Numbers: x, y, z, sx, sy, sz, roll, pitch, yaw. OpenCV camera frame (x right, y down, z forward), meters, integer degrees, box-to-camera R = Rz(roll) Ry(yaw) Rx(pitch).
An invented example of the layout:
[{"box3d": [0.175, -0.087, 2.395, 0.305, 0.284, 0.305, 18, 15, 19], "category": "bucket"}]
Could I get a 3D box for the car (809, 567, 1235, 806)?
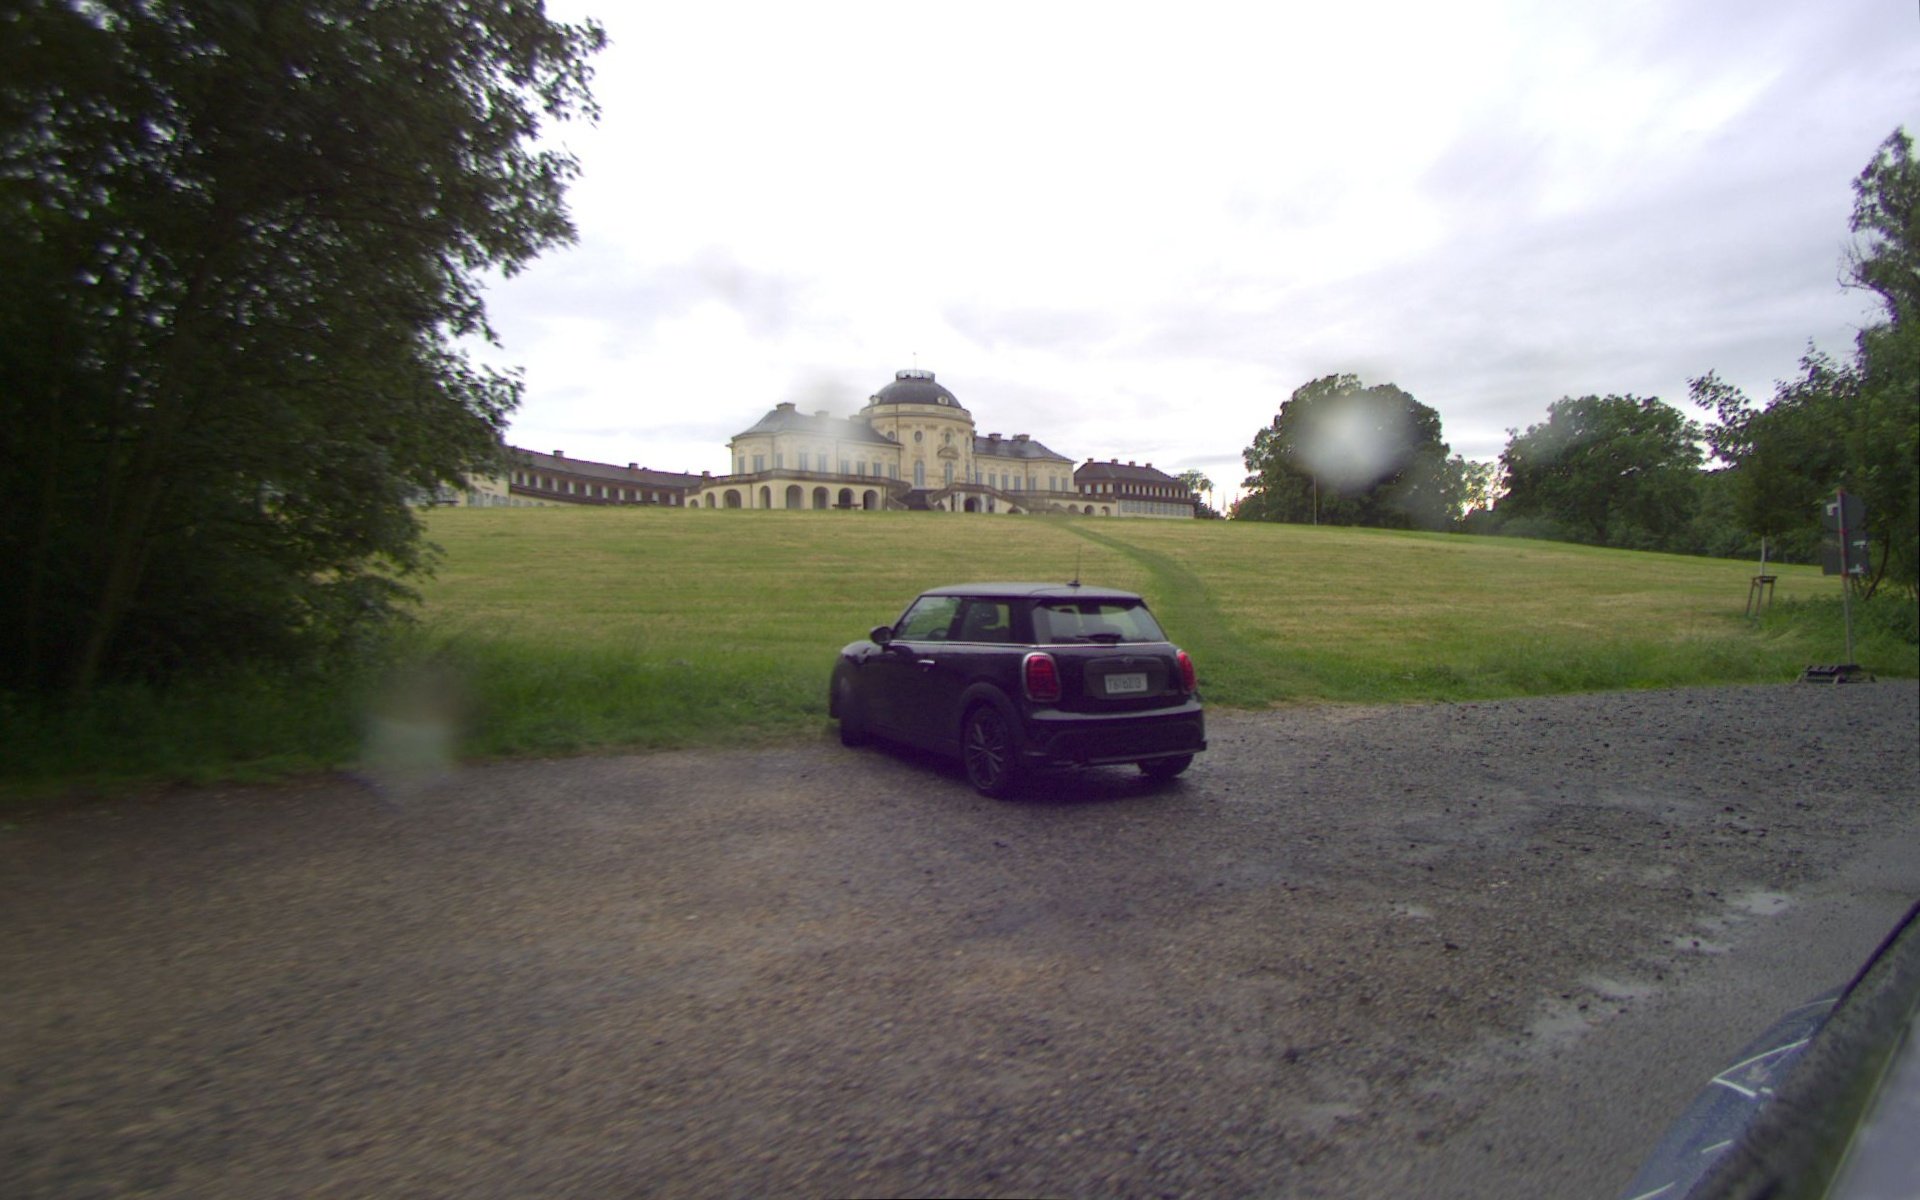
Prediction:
[{"box3d": [0.245, 0.522, 8.199, 1.673, 1.454, 3.723, -1, 0, -30], "category": "car"}]
